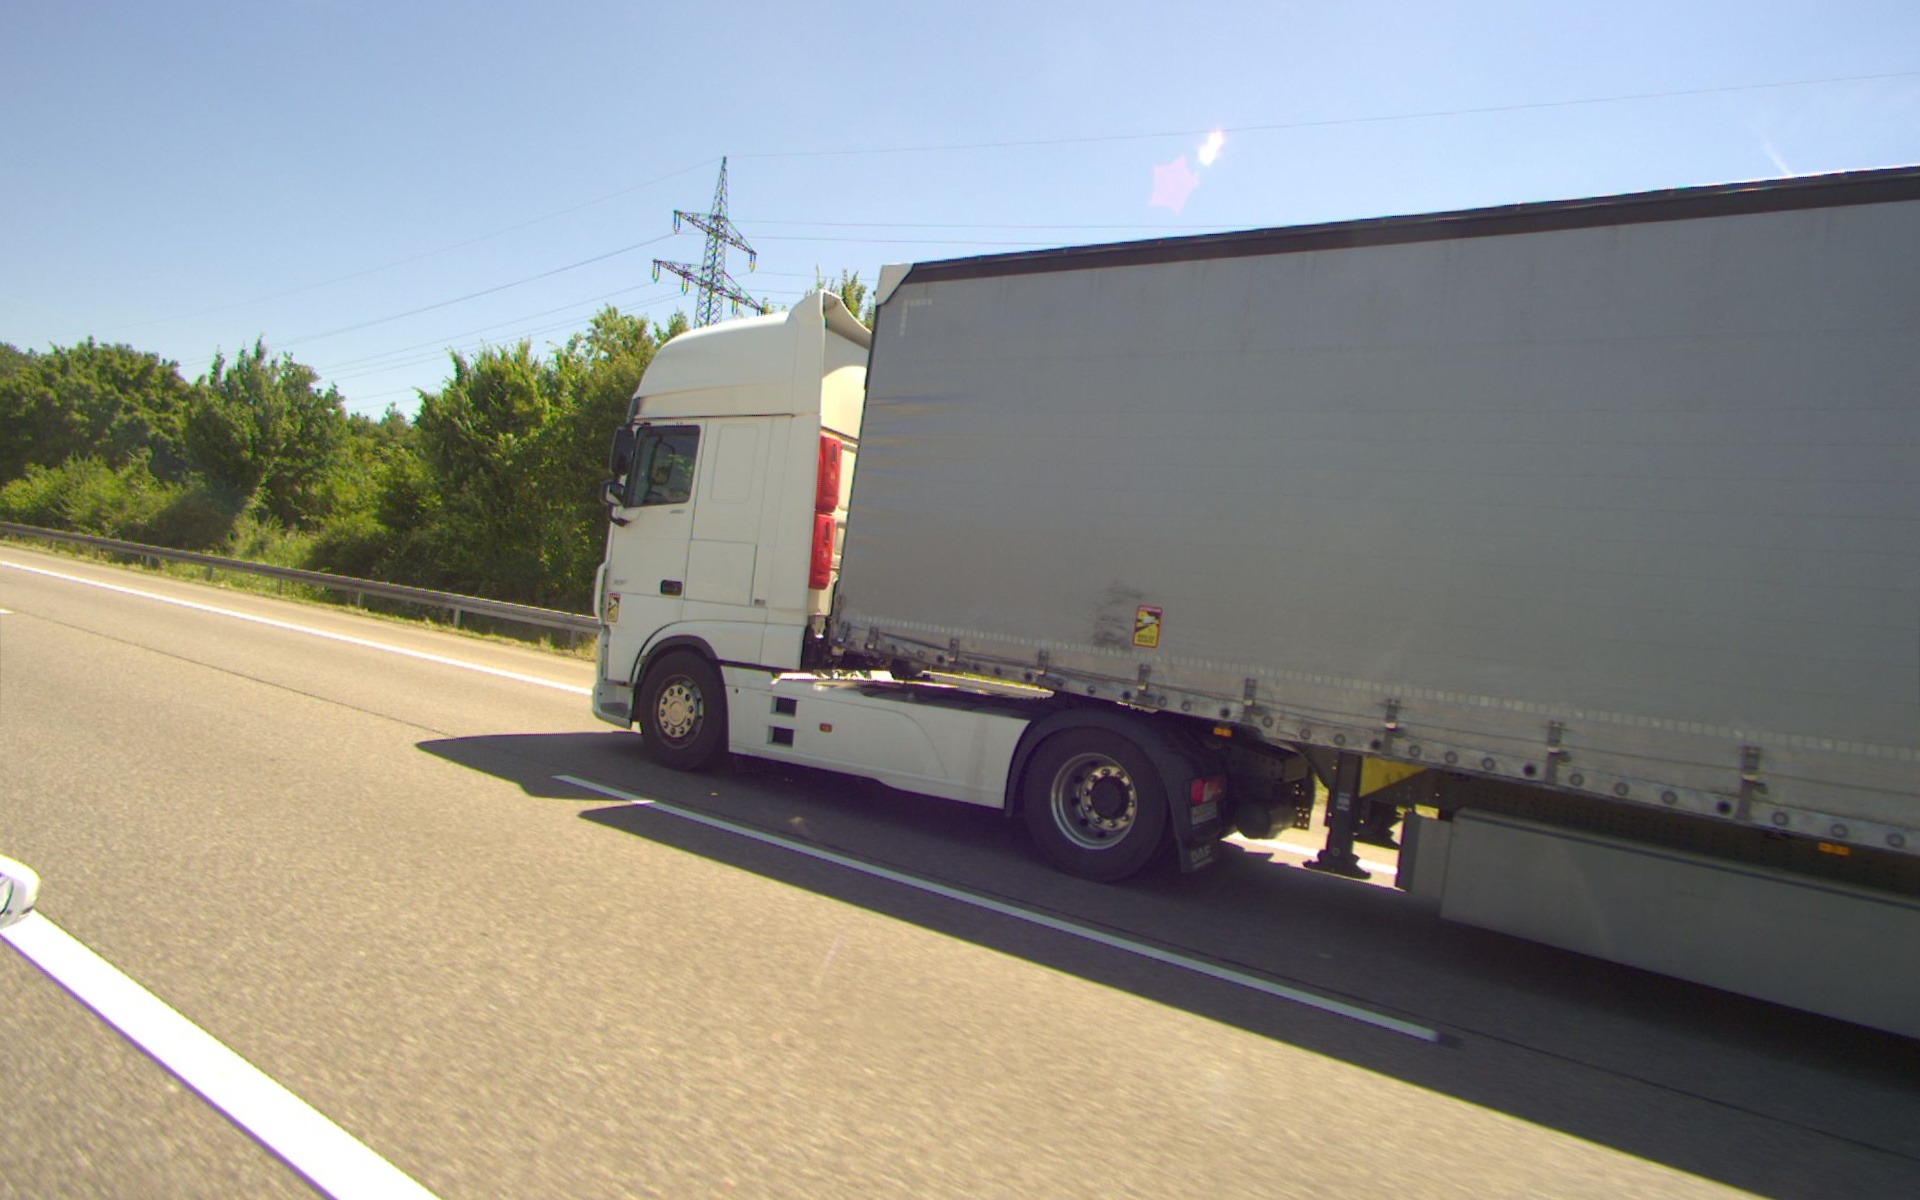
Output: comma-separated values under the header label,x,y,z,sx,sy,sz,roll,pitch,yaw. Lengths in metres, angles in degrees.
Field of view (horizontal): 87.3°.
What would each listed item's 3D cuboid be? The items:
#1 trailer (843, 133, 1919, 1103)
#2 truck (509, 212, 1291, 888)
label,x,y,z,sx,sy,sz,roll,pitch,yaw
trailer,5.551,0.235,5.040,12.904,4.155,2.740,6,-1,32
truck,-0.688,-0.471,8.912,6.023,4.169,2.740,7,-1,32
